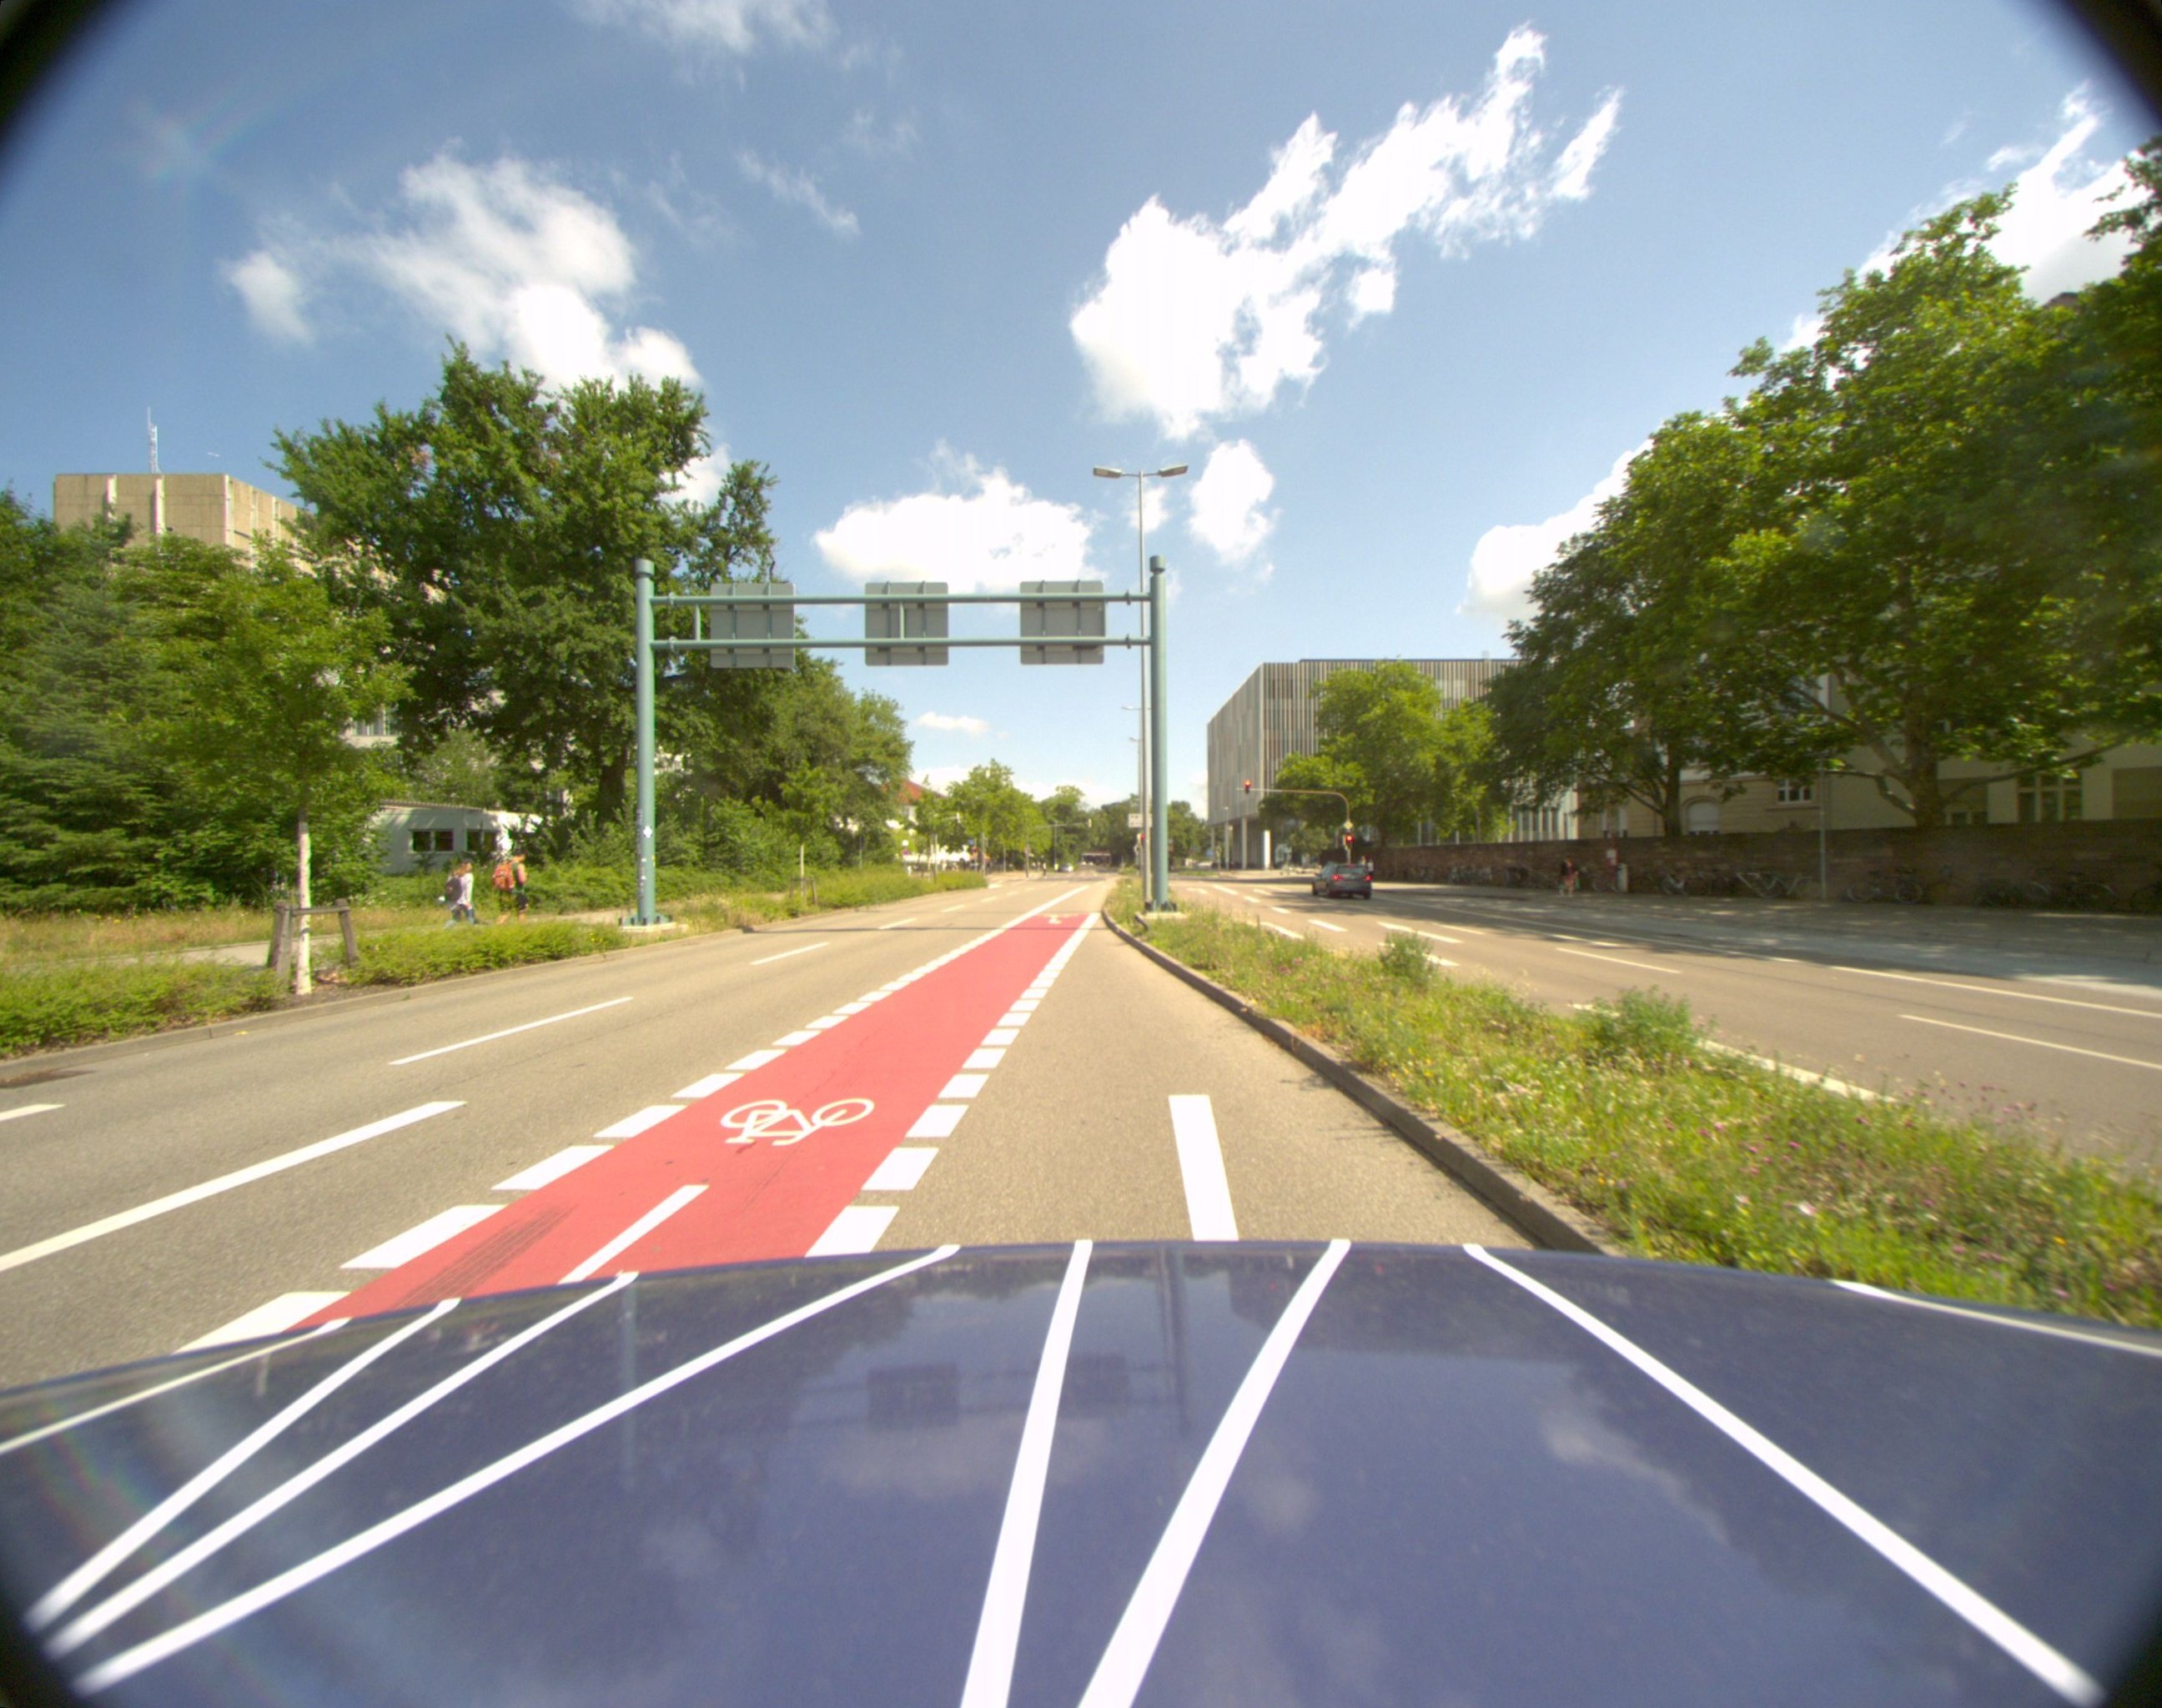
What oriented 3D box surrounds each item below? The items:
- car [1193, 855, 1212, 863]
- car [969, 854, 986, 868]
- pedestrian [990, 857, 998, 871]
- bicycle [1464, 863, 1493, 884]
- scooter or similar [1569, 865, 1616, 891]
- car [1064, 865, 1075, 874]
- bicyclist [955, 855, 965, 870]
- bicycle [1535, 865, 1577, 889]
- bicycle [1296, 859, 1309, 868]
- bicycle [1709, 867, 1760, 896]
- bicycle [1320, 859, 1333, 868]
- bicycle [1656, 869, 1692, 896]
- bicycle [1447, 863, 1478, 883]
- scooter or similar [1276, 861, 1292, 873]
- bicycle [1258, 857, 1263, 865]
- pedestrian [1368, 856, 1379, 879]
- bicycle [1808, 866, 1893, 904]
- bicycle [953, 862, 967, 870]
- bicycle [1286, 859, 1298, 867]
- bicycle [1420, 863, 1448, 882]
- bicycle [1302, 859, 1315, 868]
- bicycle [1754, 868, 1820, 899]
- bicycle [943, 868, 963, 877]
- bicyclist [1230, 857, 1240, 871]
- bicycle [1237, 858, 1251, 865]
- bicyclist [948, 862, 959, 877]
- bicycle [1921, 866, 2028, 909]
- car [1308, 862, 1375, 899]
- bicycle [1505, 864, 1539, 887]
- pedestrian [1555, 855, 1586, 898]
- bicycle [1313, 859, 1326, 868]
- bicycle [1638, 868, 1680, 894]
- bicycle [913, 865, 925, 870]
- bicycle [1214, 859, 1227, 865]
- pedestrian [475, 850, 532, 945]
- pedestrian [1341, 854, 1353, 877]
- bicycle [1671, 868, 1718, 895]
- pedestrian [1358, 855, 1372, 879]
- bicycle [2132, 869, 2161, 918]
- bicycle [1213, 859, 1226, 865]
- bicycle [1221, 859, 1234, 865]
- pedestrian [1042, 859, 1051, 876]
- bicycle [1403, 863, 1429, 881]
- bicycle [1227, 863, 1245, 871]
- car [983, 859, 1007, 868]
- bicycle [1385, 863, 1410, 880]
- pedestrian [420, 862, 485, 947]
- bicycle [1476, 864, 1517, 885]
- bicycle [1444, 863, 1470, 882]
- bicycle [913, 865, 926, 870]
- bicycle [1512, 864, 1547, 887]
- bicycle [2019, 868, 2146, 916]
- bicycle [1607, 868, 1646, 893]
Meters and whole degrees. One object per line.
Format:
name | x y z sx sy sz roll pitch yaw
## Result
car | 26.934 1.066 168.484 3.996 1.676 1.647 0 0 3
car | -15.092 0.978 110.520 1.999 2.002 4.901 0 0 -2
pedestrian | -10.114 1.124 88.286 0.741 1.640 0.640 0 0 17
bicycle | 20.984 1.008 40.163 0.371 1.042 1.880 0 0 -5
scooter or similar | 21.709 0.992 32.271 0.582 1.042 1.880 0 0 -5
car | -1.808 2.551 123.300 1.708 1.321 3.999 2 0 -2
bicyclist | -12.229 0.870 76.910 0.916 1.498 0.614 0 0 44
bicycle | 21.426 1.030 34.289 0.582 1.042 1.880 0 0 -5
bicycle | 28.649 1.208 98.191 0.720 1.090 2.223 -1 0 41
bicycle | 22.532 0.930 26.211 0.367 0.949 1.401 -1 0 -11
bicycle | 30.810 1.167 95.484 0.720 1.090 2.223 -1 0 41
bicycle | 21.622 1.031 27.714 0.367 0.949 1.626 -1 0 13
bicycle | 20.375 1.015 40.637 0.593 1.042 1.880 0 0 -5
scooter or similar | 20.175 1.269 75.489 1.504 1.150 0.502 0 0 -24
bicycle | 24.260 0.919 102.780 0.547 1.090 1.636 0 0 13
pedestrian | 19.680 0.913 51.057 0.477 1.531 0.616 0 0 -2
bicycle | 22.925 0.890 22.675 0.584 1.067 1.754 -1 0 -11
bicycle | -12.224 1.198 76.902 1.510 0.828 0.621 -1 0 44
bicycle | 27.744 1.186 99.832 0.720 1.090 2.223 -1 0 41
bicycle | 20.501 1.066 44.176 0.566 1.042 1.880 0 0 -5
bicycle | 29.266 1.197 97.655 0.720 1.090 2.223 -1 0 41
bicycle | 22.737 0.944 24.503 0.371 0.949 1.625 -1 0 -11
bicycle | -11.598 1.701 68.863 1.756 0.771 0.445 -1 0 -9
bicyclist | 16.763 1.069 82.769 0.944 1.456 0.633 0 0 35
bicycle | 26.473 1.154 123.329 2.217 1.090 0.722 0 0 -4
bicyclist | -11.541 1.412 68.873 0.932 1.341 0.445 -1 0 -9
bicycle | 23.465 0.863 19.997 0.584 1.067 1.754 -1 0 -11
car | 11.135 1.087 32.737 1.704 1.436 4.147 1 0 4
bicycle | 20.969 1.007 36.138 0.374 1.042 1.880 0 0 -5
pedestrian | 18.576 0.840 28.861 0.658 1.600 0.744 -1 0 -4
bicycle | 30.102 1.156 96.031 0.720 1.090 2.223 -1 0 41
bicycle | 22.118 1.030 29.105 0.367 0.949 1.401 -1 0 -11
bicycle | -23.507 1.957 110.217 1.672 0.785 0.626 0 0 -5
bicycle | 25.414 1.450 138.022 2.217 1.090 0.722 0 0 -4
pedestrian | -11.080 0.825 14.592 0.568 1.791 0.639 0 0 4
pedestrian | 19.098 0.805 54.501 0.562 1.641 0.727 0 0 -2
bicycle | 22.348 0.999 27.706 0.367 0.949 1.401 -1 0 -11
pedestrian | 18.977 0.870 50.843 0.642 1.641 0.731 0 0 -2
bicycle | 24.220 0.873 16.371 0.584 1.067 1.753 -1 0 -18
bicycle | 25.349 1.448 138.897 2.217 1.083 0.722 0 0 -4
bicycle | 26.010 1.431 135.161 2.217 1.090 0.722 0 0 -4
pedestrian | -3.808 1.472 83.869 0.700 1.815 0.943 3 1 14
bicycle | 20.417 1.077 46.345 0.632 1.042 1.880 0 0 -5
bicycle | 16.864 1.443 82.697 1.770 0.887 0.639 -1 0 35
car | -15.104 1.652 133.314 3.999 1.416 1.756 0 0 -7
bicycle | 20.218 1.084 48.583 0.632 1.042 1.880 0 0 -5
pedestrian | -11.977 0.947 14.503 0.624 1.571 0.708 0 0 4
bicycle | 20.942 1.019 38.329 0.594 1.042 1.878 -1 0 -21
bicycle | 20.827 1.021 42.131 0.371 1.042 1.880 0 0 -5
bicycle | -23.553 1.960 110.882 1.672 0.785 0.626 0 0 -5
bicycle | 21.355 1.008 36.193 0.395 1.042 1.880 0 0 -5
bicycle | 23.881 0.876 18.168 0.584 1.067 1.754 -1 0 -13
bicycle | 21.891 1.047 30.520 0.367 0.949 1.401 -1 0 -11
